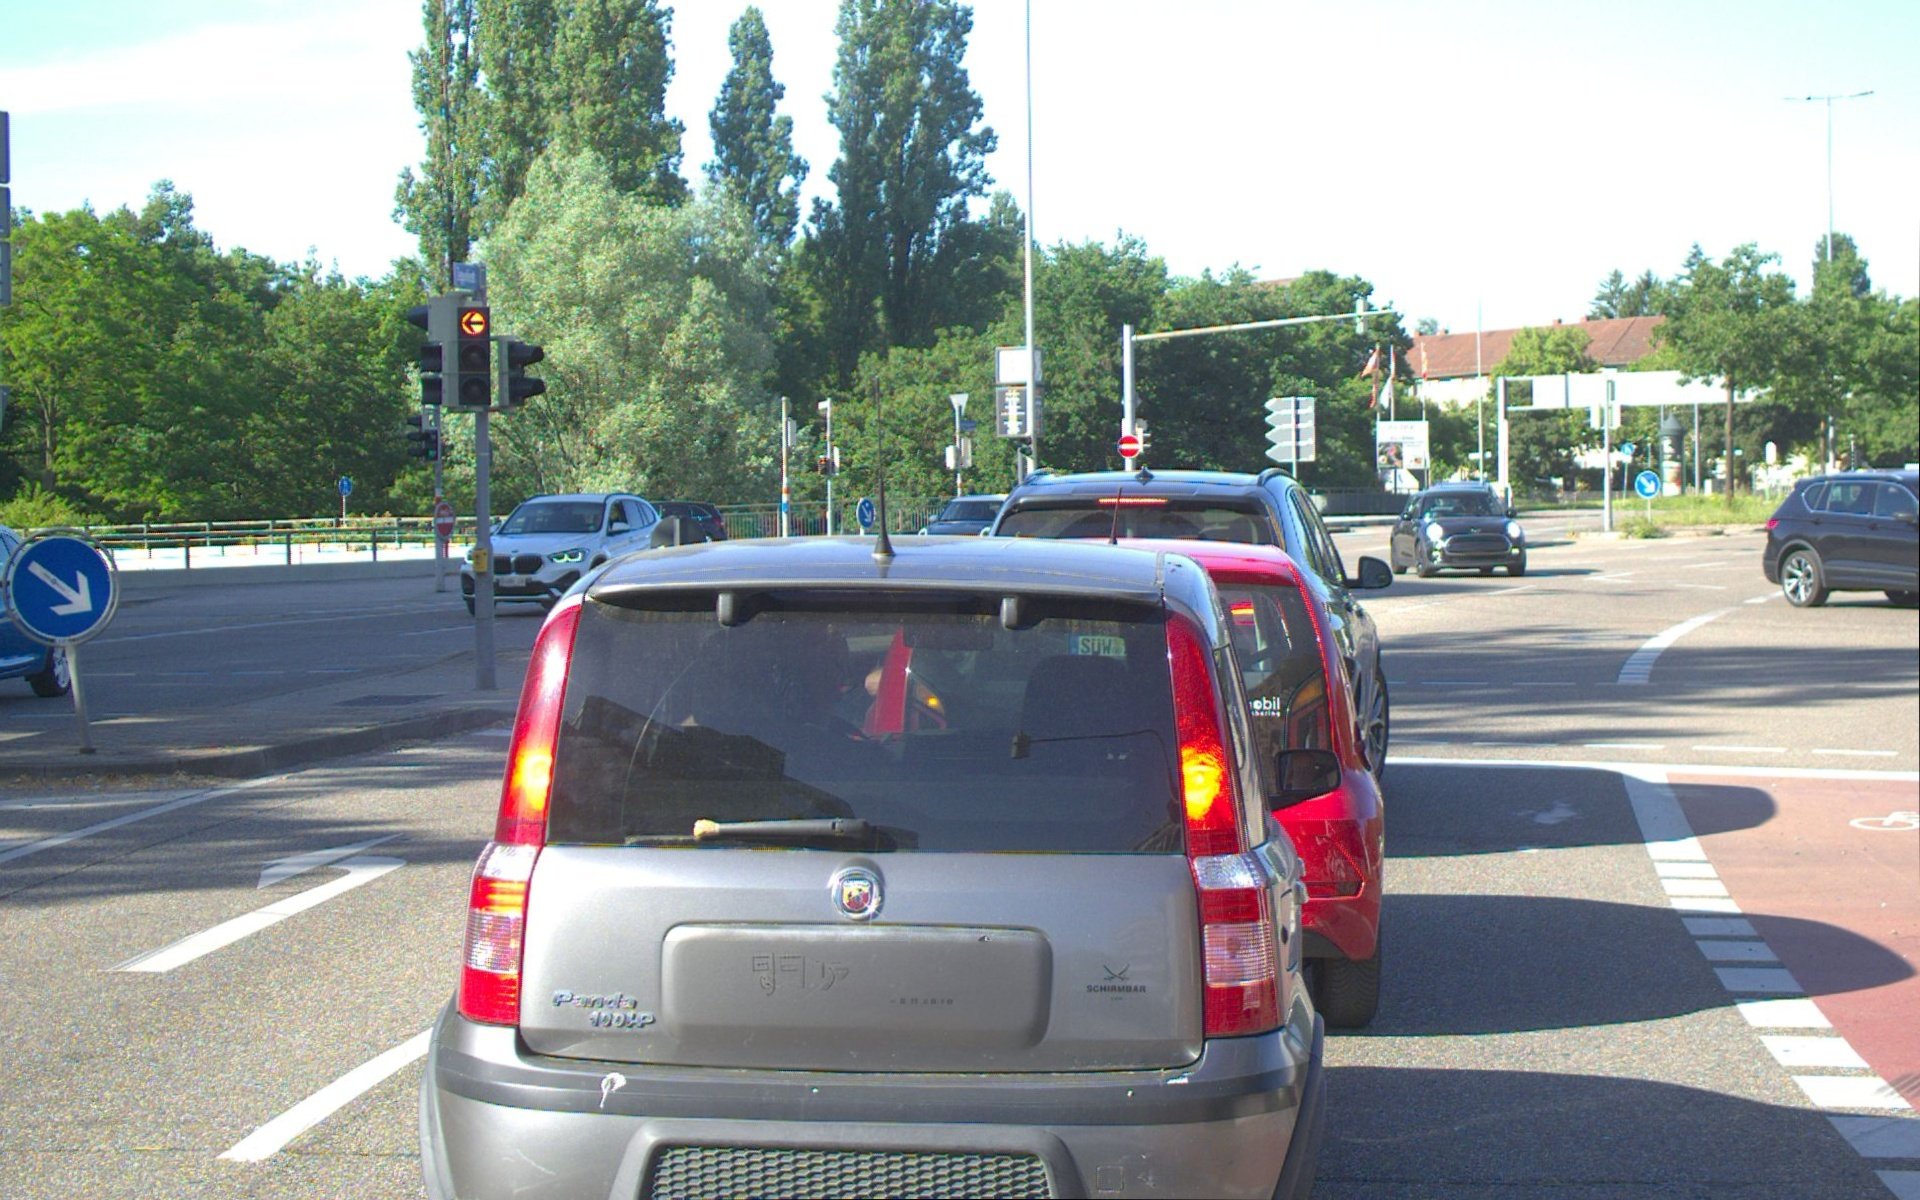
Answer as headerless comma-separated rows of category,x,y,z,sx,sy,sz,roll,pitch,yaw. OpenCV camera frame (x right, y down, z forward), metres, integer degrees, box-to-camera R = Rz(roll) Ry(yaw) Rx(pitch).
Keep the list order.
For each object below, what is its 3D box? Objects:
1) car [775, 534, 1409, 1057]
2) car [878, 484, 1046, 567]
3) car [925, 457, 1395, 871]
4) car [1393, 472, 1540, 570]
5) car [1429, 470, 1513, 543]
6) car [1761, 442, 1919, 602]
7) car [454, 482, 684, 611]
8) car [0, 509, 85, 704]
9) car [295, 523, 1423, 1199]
car,0.541,0.520,11.889,1.820,1.474,4.000,0,1,5
car,0.072,-1.357,63.948,1.688,1.452,3.909,-1,0,24
car,1.144,0.204,17.326,1.869,1.784,4.413,1,2,10
car,8.259,-1.271,56.354,1.994,1.448,3.999,1,-1,3
car,11.177,-2.061,74.993,1.751,1.488,4.348,0,3,9
car,11.800,-0.919,41.147,1.993,1.829,4.361,1,-1,-26
car,-5.288,-0.771,47.135,1.834,1.647,4.627,-1,2,10
car,-8.357,0.043,27.433,1.820,1.498,4.452,-1,2,-3
car,-0.044,0.609,7.612,1.820,1.484,4.000,2,2,4
